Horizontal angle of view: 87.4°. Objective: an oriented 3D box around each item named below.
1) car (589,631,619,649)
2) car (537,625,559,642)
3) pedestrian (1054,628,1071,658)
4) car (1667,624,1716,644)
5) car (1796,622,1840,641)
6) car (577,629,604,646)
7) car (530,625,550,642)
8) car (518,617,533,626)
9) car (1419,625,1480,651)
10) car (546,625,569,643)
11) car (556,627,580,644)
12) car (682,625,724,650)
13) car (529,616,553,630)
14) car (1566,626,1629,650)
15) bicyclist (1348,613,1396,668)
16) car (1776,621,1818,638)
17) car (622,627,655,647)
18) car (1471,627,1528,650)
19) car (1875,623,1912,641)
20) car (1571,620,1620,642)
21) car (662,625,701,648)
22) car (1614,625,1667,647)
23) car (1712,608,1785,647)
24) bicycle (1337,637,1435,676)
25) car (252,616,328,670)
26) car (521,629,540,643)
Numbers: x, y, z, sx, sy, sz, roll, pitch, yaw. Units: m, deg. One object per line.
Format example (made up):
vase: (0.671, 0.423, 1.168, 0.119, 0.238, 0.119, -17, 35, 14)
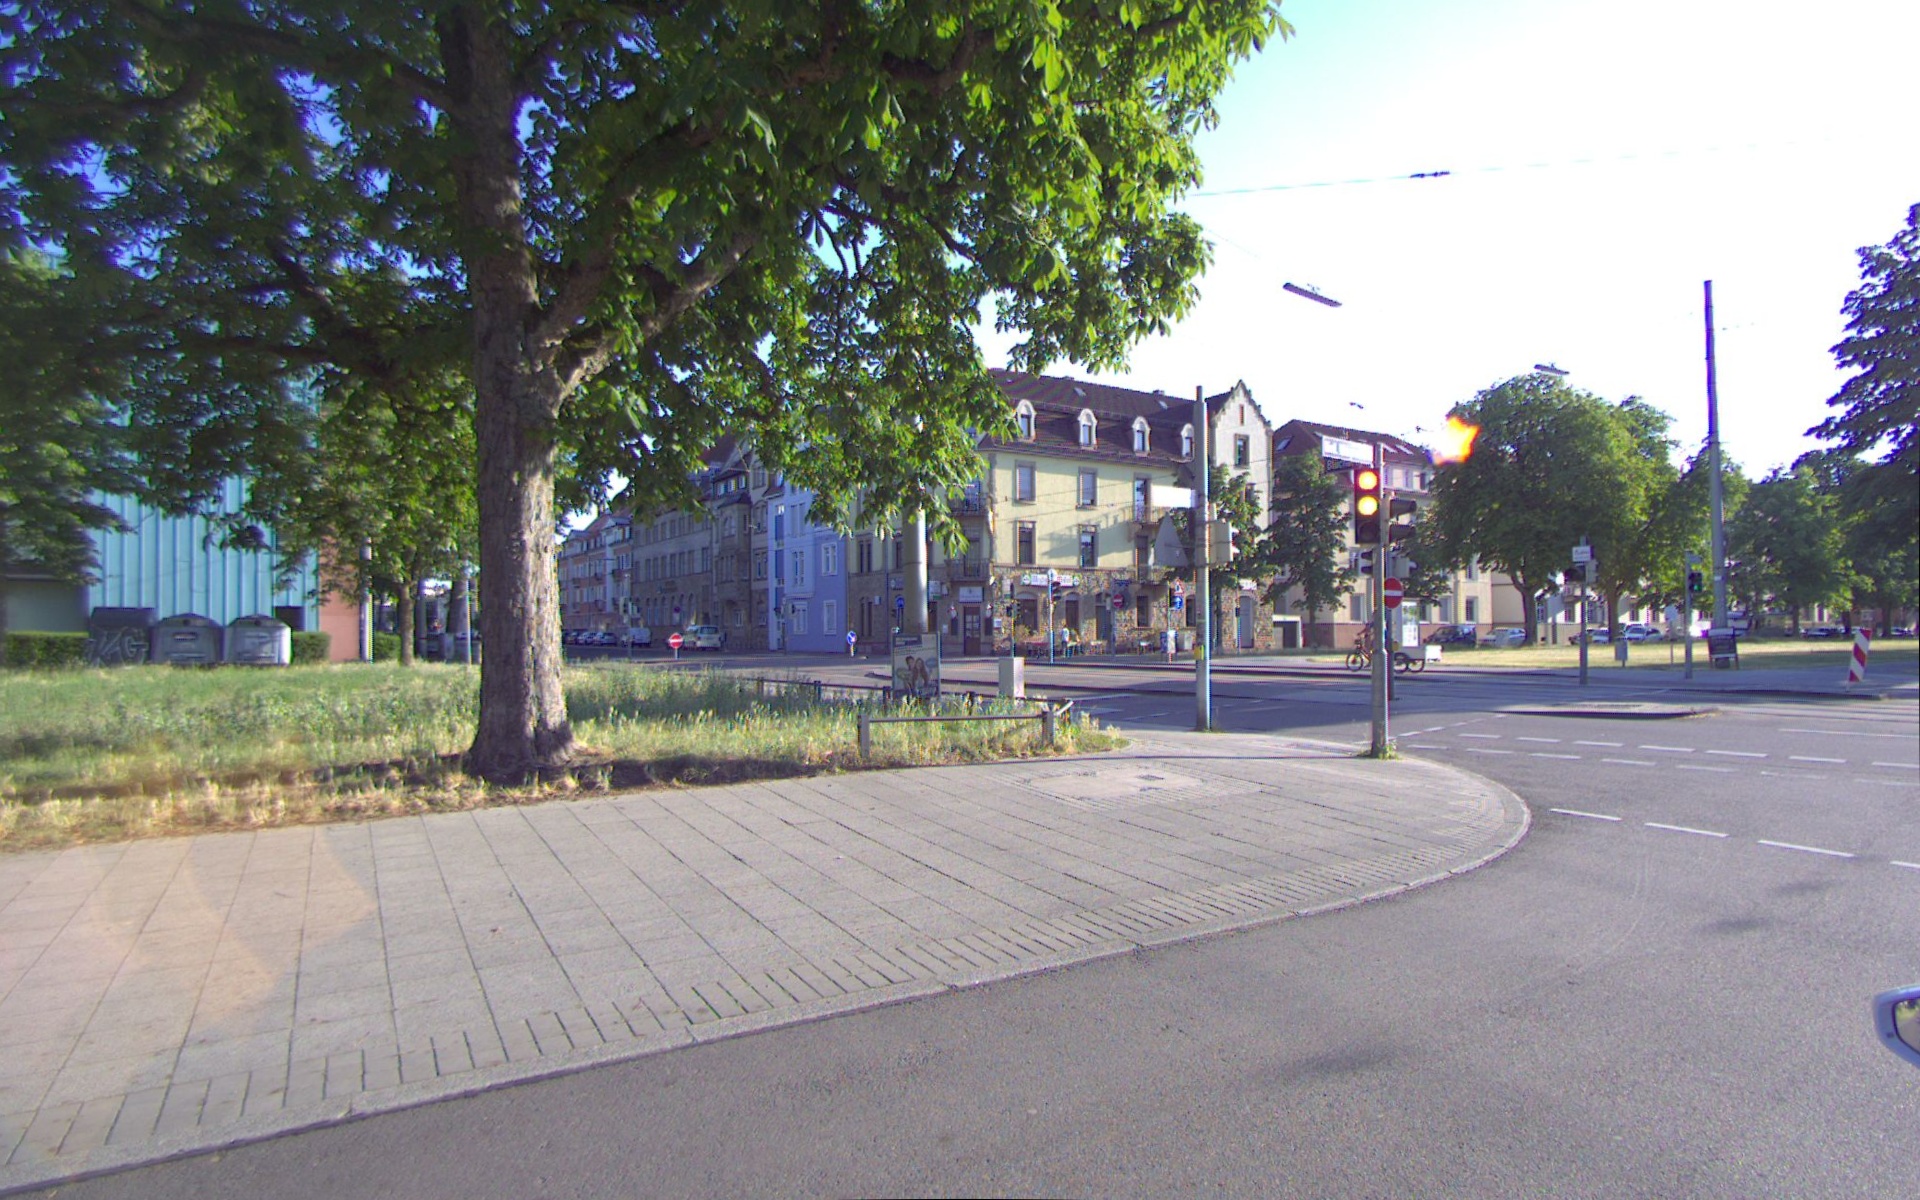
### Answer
car: (-36.687, 4.119, 103.522, 1.980, 1.694, 3.743, 2, 0, -34)
car: (-51.957, 4.224, 126.675, 1.789, 2.040, 3.772, 2, 0, -33)
pedestrian: (5.729, 2.417, 56.375, 0.676, 1.646, 0.612, 2, 0, -34)
car: (66.781, 3.088, 91.715, 4.517, 1.681, 1.984, 2, 0, -30)
car: (80.919, 2.954, 94.706, 4.266, 1.696, 1.869, 2, 0, -31)
car: (-39.806, 4.061, 108.236, 1.816, 1.692, 3.911, 2, 0, -34)
car: (-54.763, 4.371, 130.908, 1.756, 2.040, 3.790, 2, 0, -34)
car: (-68.523, 3.370, 158.280, 1.534, 1.387, 3.428, 2, 0, -34)
car: (35.632, 2.764, 73.125, 4.261, 1.759, 1.984, 2, 0, -30)
car: (-48.976, 4.105, 122.106, 1.805, 2.040, 3.924, 2, 0, -34)
car: (-45.991, 4.135, 117.745, 1.782, 1.855, 3.755, 2, 0, -34)
car: (-20.031, 2.889, 78.302, 2.011, 1.760, 3.743, 2, 0, -34)
car: (-58.202, 3.178, 139.393, 1.911, 1.715, 3.952, 2, 0, -41)
car: (46.473, 2.771, 73.219, 4.517, 1.681, 1.984, 2, 0, -30)
bicyclist: (13.246, 1.306, 32.335, 0.864, 1.746, 1.141, 1, -3, -27)
car: (86.946, 3.058, 104.361, 4.323, 1.681, 1.984, 2, 0, -30)
car: (-30.094, 3.461, 94.022, 1.980, 1.694, 3.743, 2, 0, -34)
car: (40.971, 2.917, 76.258, 3.953, 1.681, 1.984, 2, 0, -30)
car: (97.859, 3.373, 105.260, 4.075, 1.804, 1.802, 2, 0, -31)
car: (52.791, 2.581, 83.429, 4.142, 1.654, 1.707, 2, 0, -30)
car: (-22.961, 2.957, 82.805, 1.980, 1.763, 3.962, 1, 0, -34)
car: (51.634, 2.703, 76.214, 4.372, 1.575, 1.785, 0, 1, -34)
car: (67.870, 2.357, 86.458, 7.764, 3.173, 2.379, 1, 1, -32)
bicycle: (13.470, 1.778, 31.895, 0.863, 1.176, 3.063, 1, -3, -26)
car: (-22.844, 1.530, 34.313, 1.979, 1.693, 5.177, 2, -4, -34)
car: (-57.614, 4.765, 134.682, 1.713, 1.694, 3.638, 2, 0, -33)
